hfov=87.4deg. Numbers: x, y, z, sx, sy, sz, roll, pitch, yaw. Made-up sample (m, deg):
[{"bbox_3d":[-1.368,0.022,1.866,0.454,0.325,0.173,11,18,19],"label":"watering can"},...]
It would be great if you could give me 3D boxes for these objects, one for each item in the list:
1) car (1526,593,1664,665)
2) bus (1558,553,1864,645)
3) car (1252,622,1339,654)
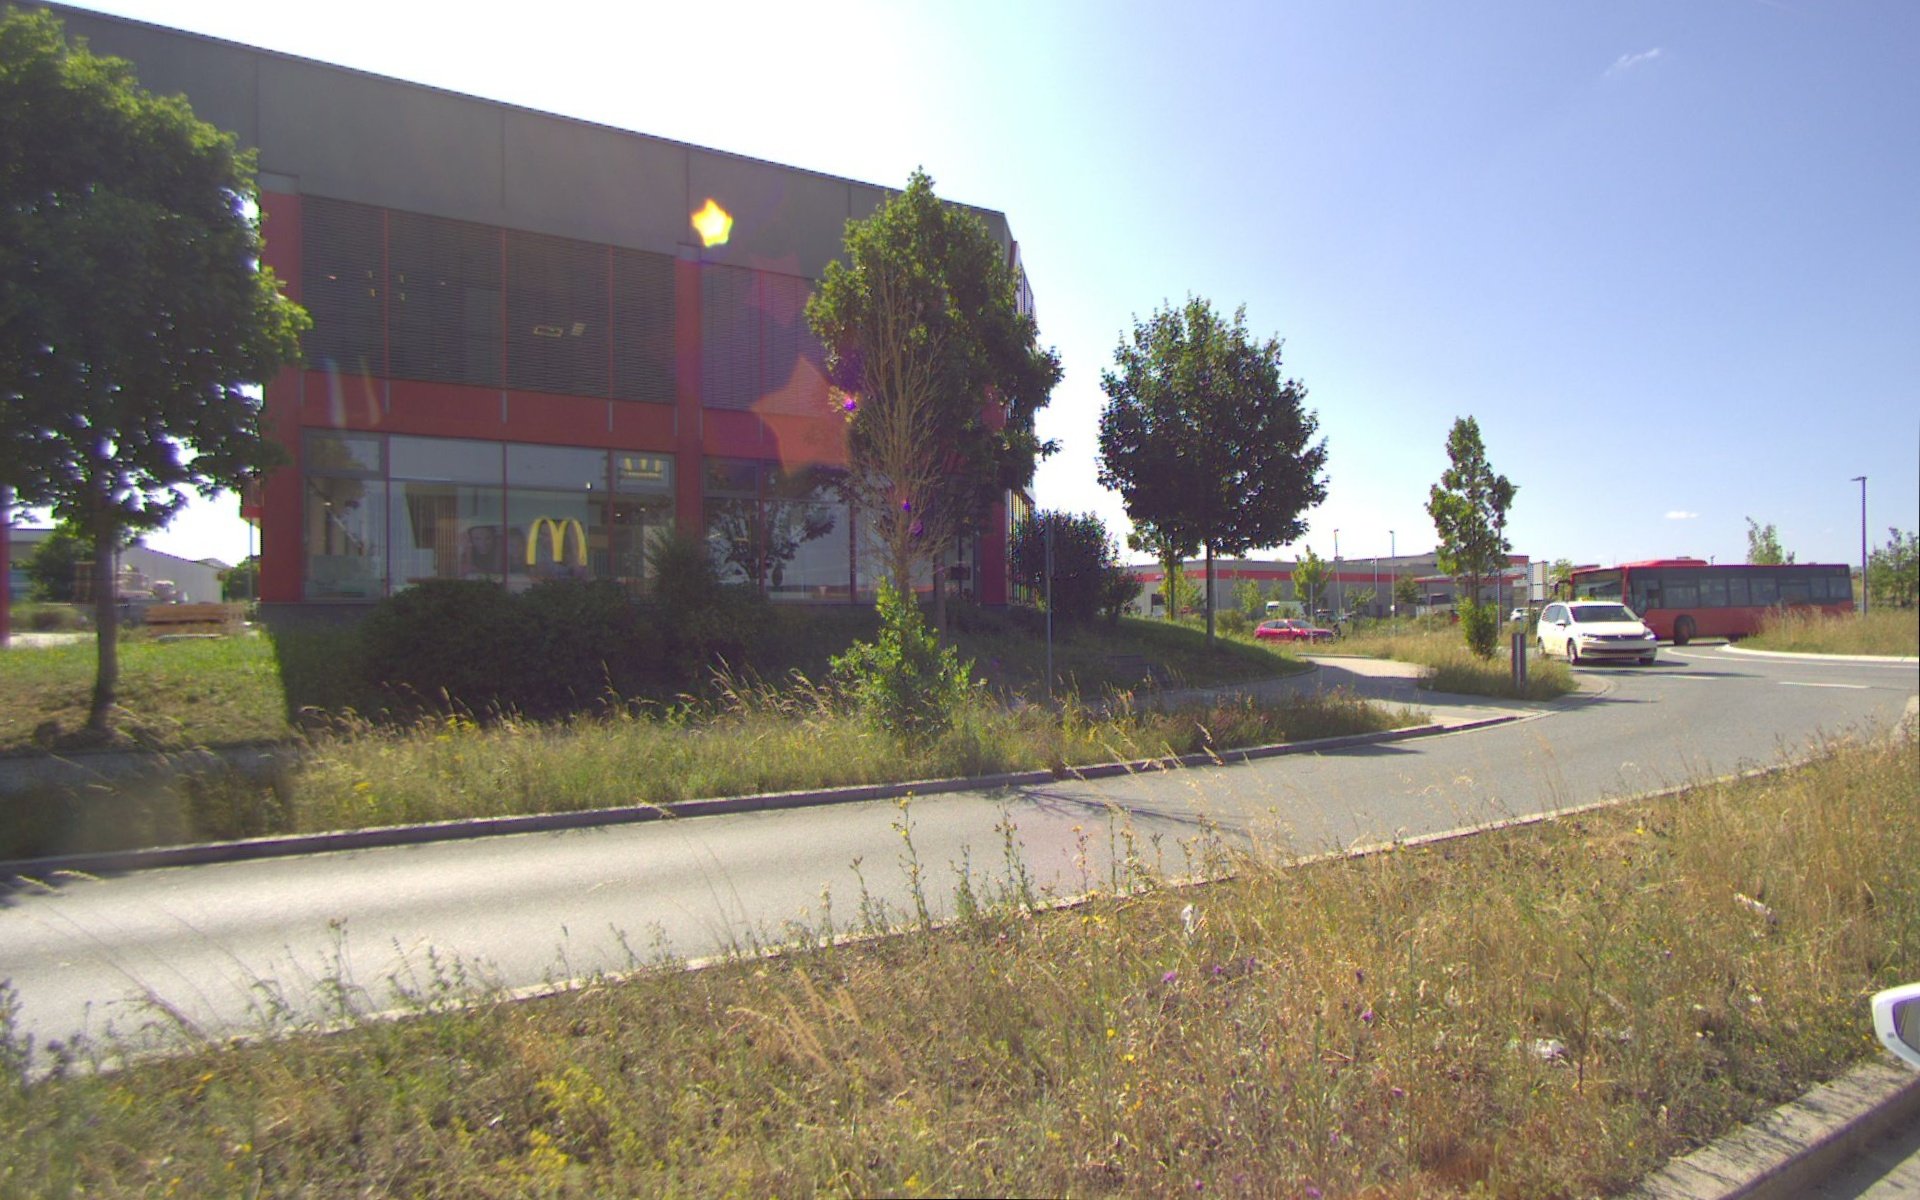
[{"bbox_3d":[16.641,0.780,26.599,1.810,1.687,4.592,-3,-2,16],"label":"car"},{"bbox_3d":[28.994,-0.055,38.692,12.004,3.120,2.787,-2,-1,-17],"label":"bus"},{"bbox_3d":[15.616,1.740,46.896,1.552,1.405,3.975,0,-1,-25],"label":"car"}]
